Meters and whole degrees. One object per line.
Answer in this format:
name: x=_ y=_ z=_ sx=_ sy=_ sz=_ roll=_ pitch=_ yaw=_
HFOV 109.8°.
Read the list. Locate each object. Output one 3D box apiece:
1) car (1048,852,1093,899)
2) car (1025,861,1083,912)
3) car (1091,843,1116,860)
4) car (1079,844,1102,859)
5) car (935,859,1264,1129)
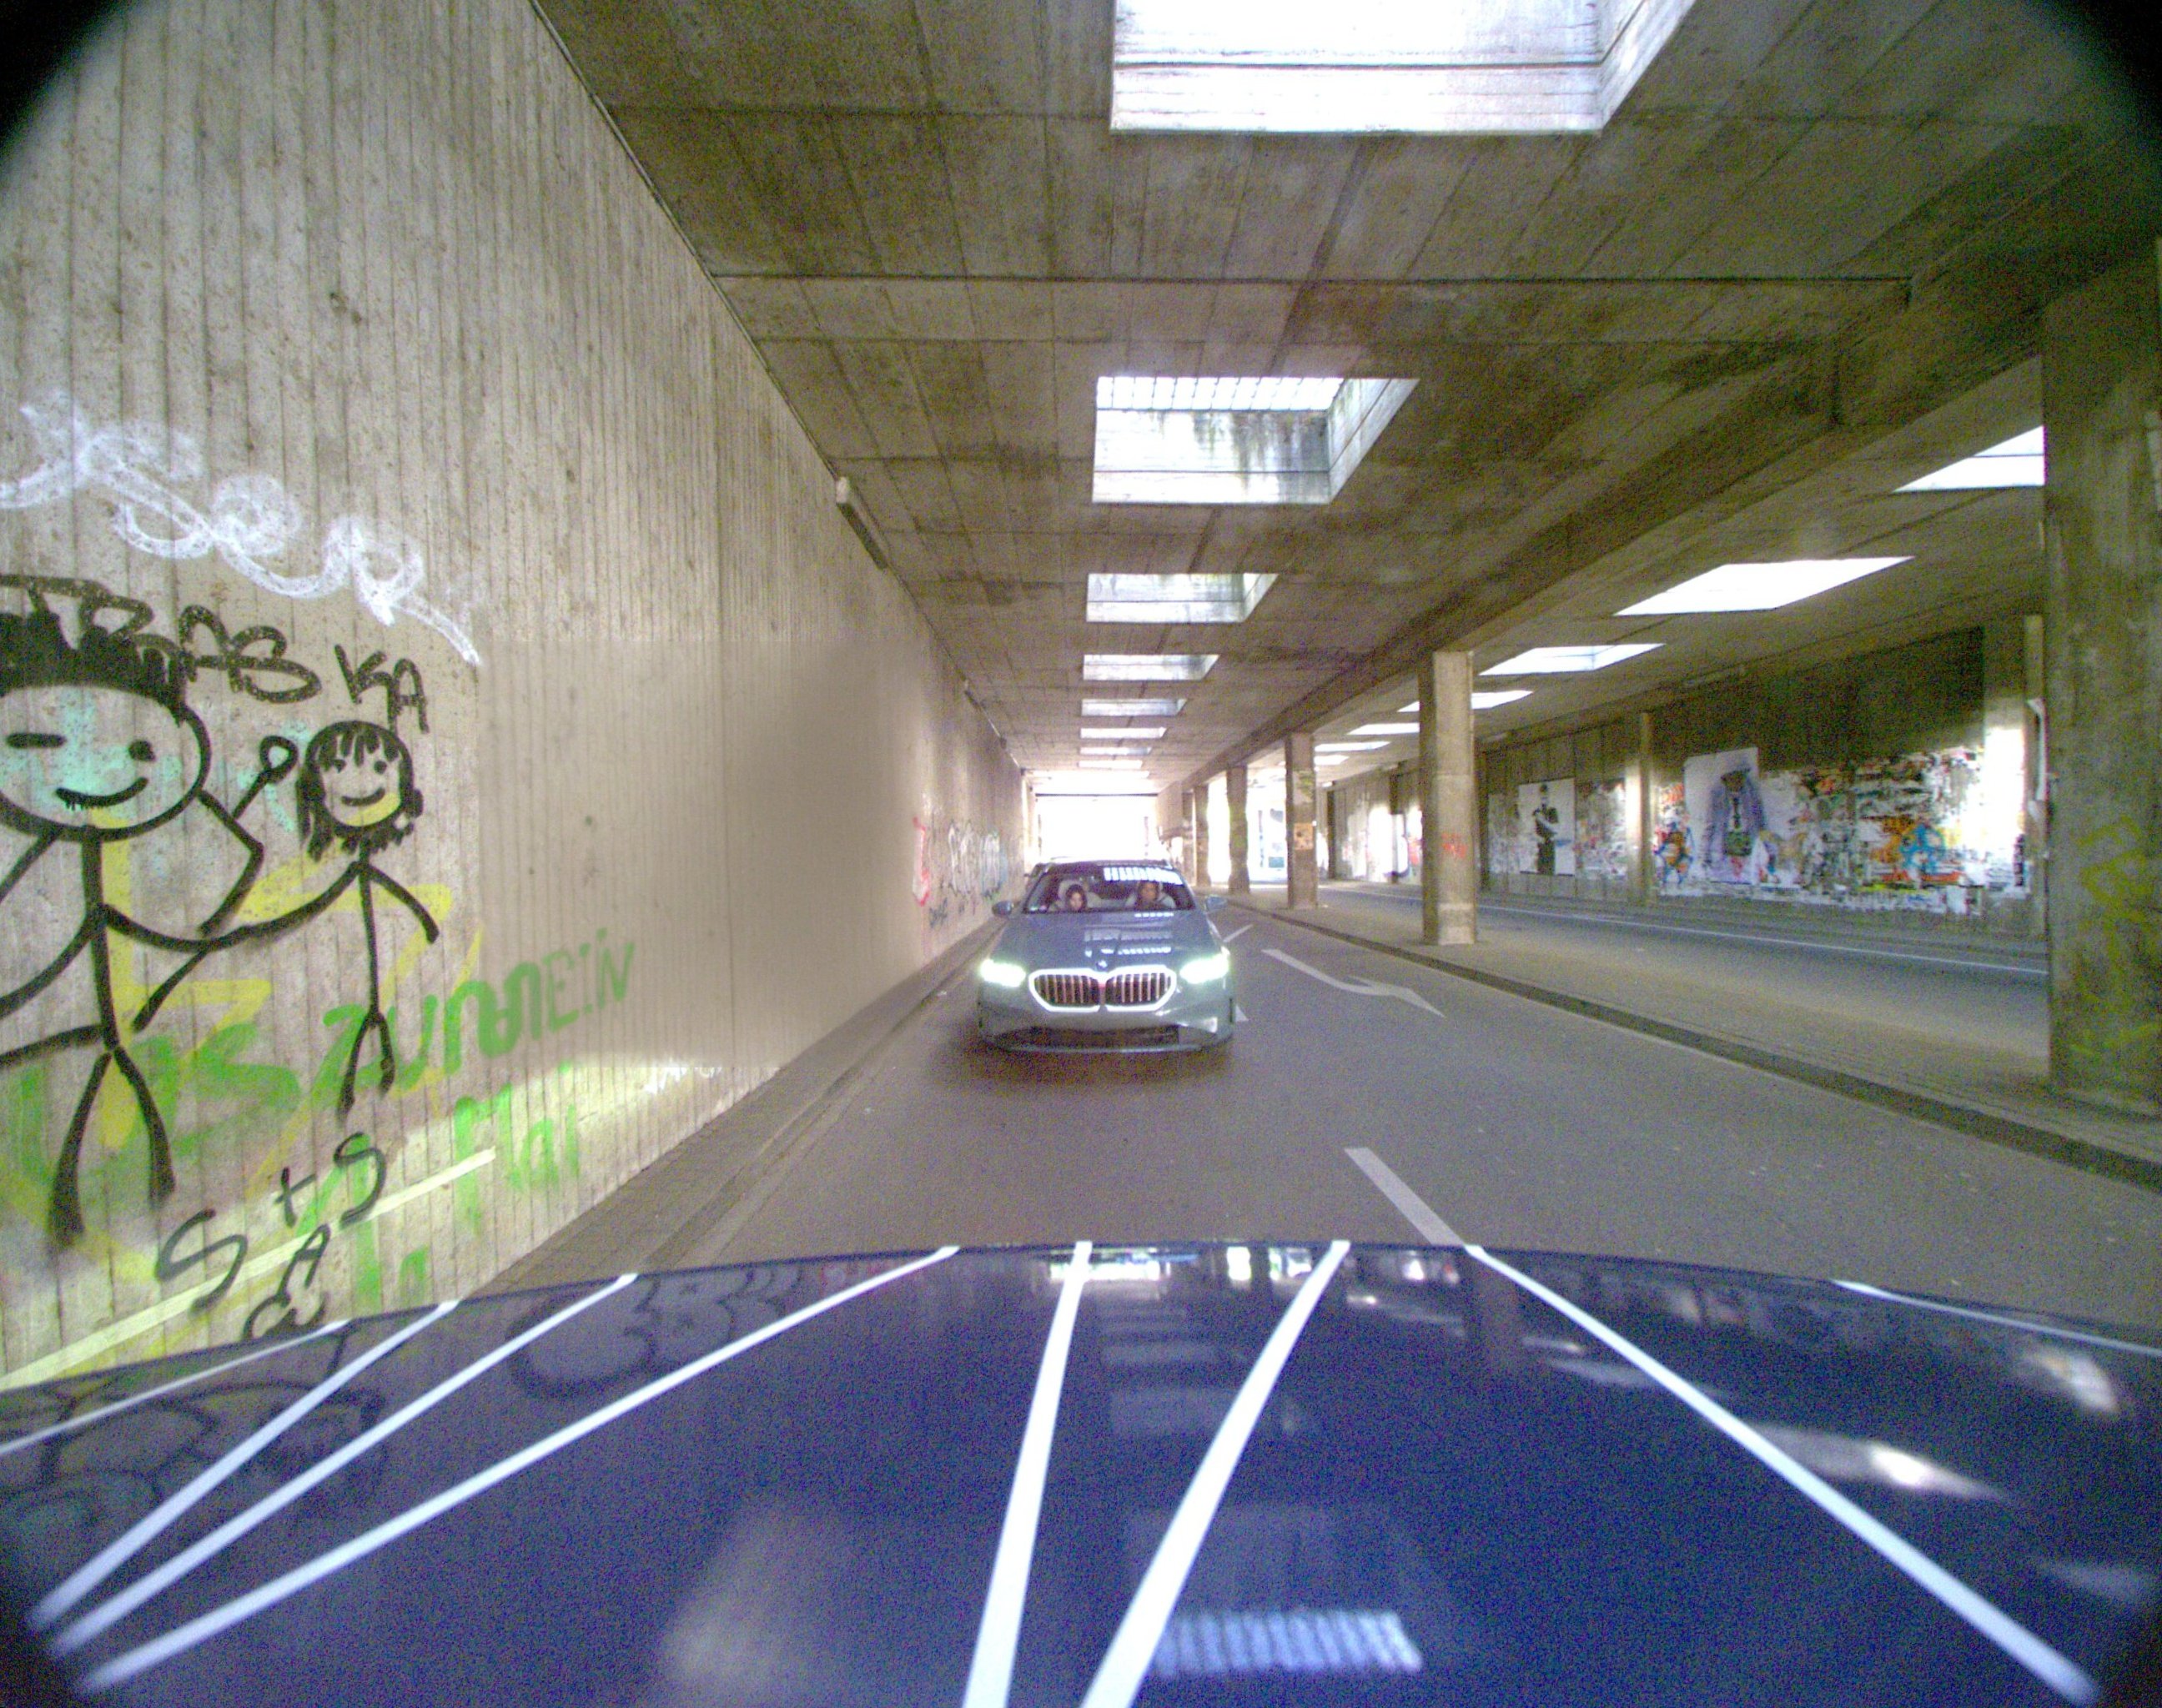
car: x=-0.357 y=0.770 z=29.849 sx=1.581 sy=1.676 sz=4.078 roll=-2 pitch=0 yaw=1
car: x=-0.781 y=0.950 z=23.842 sx=1.593 sy=1.387 sz=3.833 roll=-2 pitch=0 yaw=1
car: x=2.882 y=-0.326 z=97.480 sx=2.361 sy=2.002 sz=5.146 roll=-1 pitch=0 yaw=-8
car: x=1.229 y=-0.332 z=103.493 sx=2.361 sy=2.002 sz=5.146 roll=-1 pitch=0 yaw=-8
car: x=0.191 y=0.883 z=7.267 sx=1.998 sy=1.594 sz=5.176 roll=-1 pitch=0 yaw=2
